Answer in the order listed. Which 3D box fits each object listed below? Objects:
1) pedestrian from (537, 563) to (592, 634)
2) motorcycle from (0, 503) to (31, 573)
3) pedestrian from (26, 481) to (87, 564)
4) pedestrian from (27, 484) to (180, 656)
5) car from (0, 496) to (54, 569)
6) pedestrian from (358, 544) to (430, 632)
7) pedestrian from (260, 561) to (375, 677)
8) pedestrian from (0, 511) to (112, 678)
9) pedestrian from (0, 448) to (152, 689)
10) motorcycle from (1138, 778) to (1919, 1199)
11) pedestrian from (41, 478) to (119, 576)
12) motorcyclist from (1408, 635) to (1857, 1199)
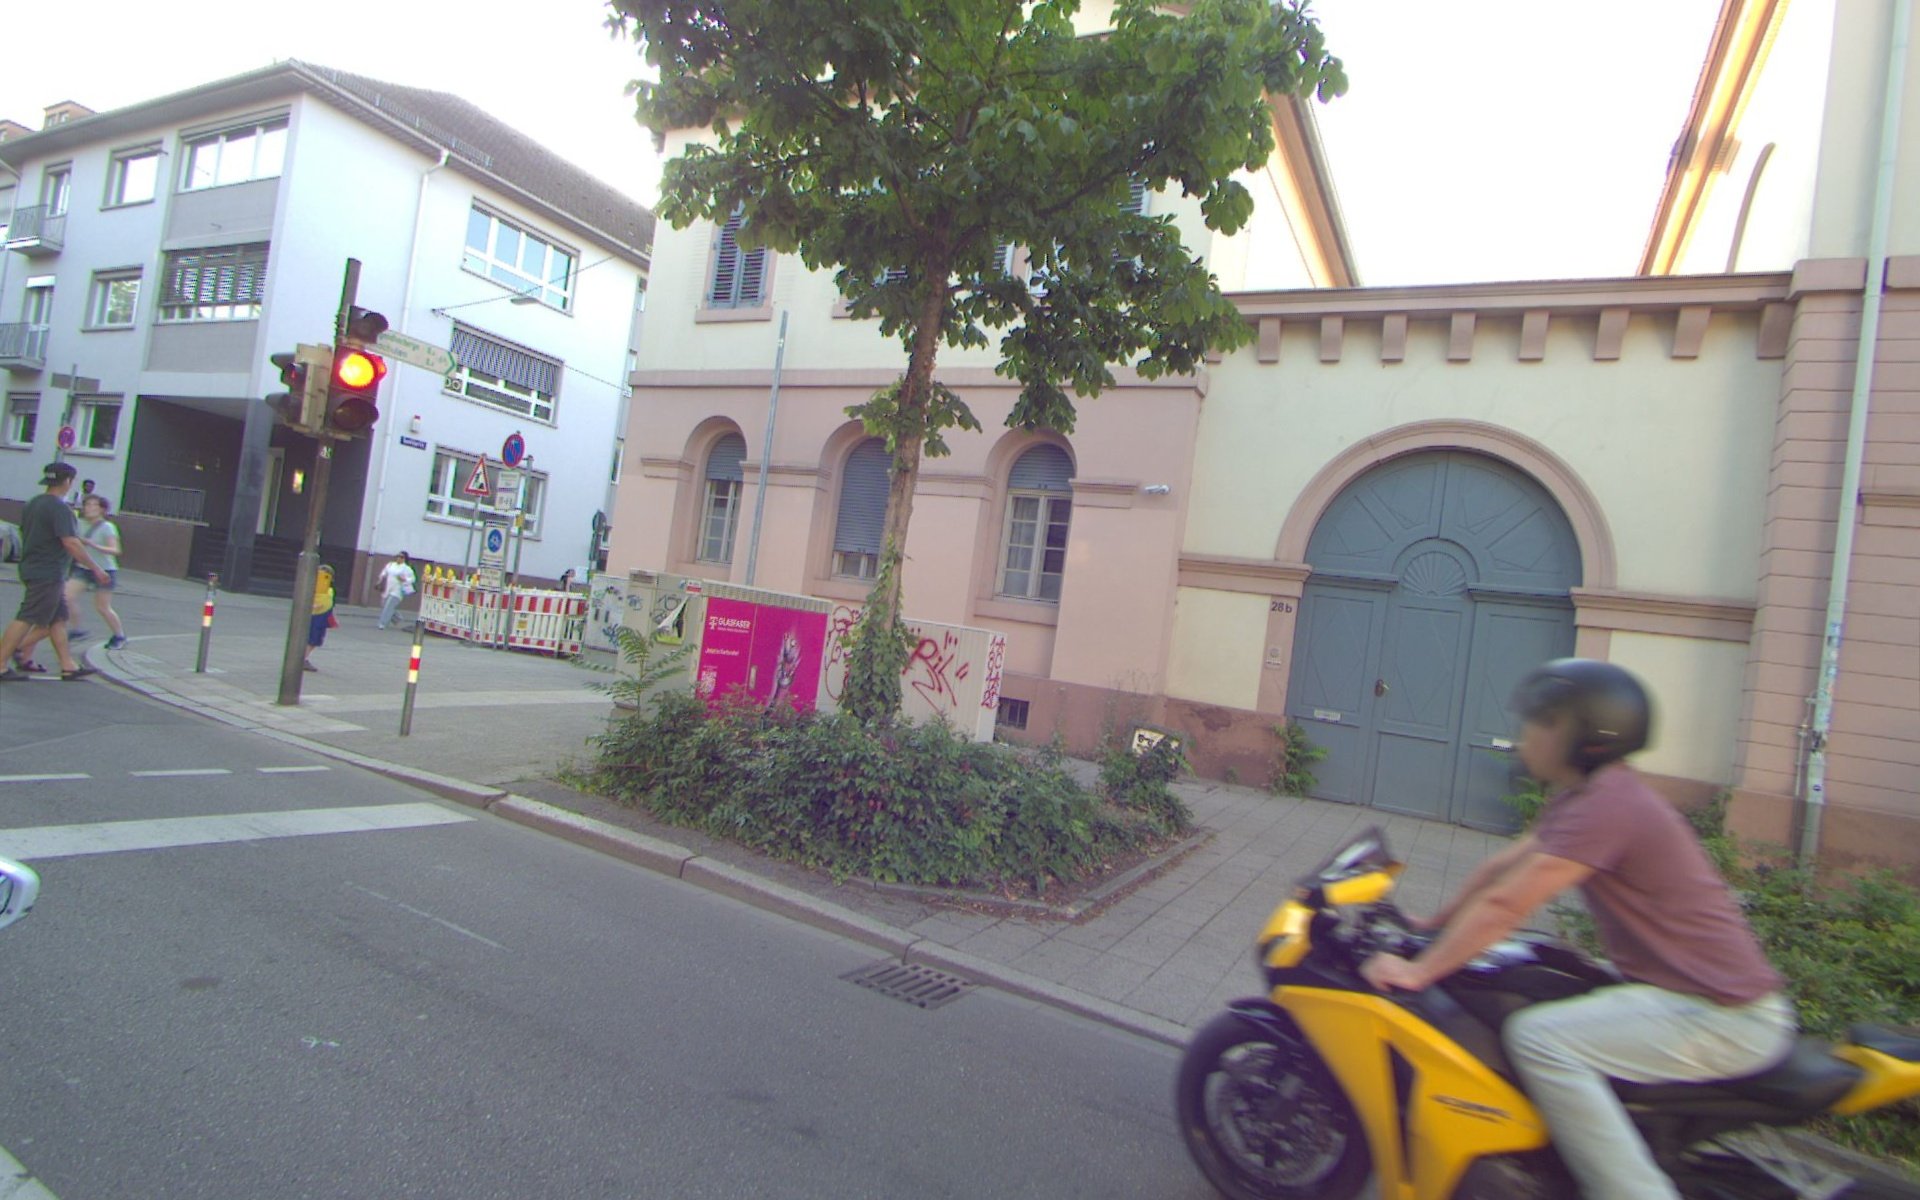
[{"bbox_3d":[-10.790,-0.038,27.457,0.917,1.772,0.770,8,-1,30],"label":"pedestrian"},{"bbox_3d":[-17.796,-1.213,17.816,0.604,1.213,1.800,7,-1,38],"label":"motorcycle"},{"bbox_3d":[-20.899,-1.781,23.278,0.688,1.772,0.705,8,-1,33],"label":"pedestrian"},{"bbox_3d":[-8.669,-0.287,10.232,0.692,1.575,0.976,9,-1,-20],"label":"pedestrian"},{"bbox_3d":[-20.503,-1.588,19.447,1.678,1.358,4.024,7,-2,30],"label":"car"},{"bbox_3d":[-10.571,-0.218,18.823,0.763,1.519,0.801,7,0,-6],"label":"pedestrian"},{"bbox_3d":[-7.015,0.209,11.000,0.821,1.134,0.567,8,1,19],"label":"pedestrian"},{"bbox_3d":[-7.873,-0.041,8.717,0.498,1.351,0.540,8,-1,34],"label":"pedestrian"},{"bbox_3d":[-7.532,-0.247,8.355,0.781,1.836,0.889,8,-1,34],"label":"pedestrian"},{"bbox_3d":[1.556,1.239,2.563,1.932,1.173,0.794,7,-3,26],"label":"motorcycle"},{"bbox_3d":[-18.421,-1.520,21.068,0.927,1.862,0.769,8,-1,30],"label":"pedestrian"},{"bbox_3d":[1.610,0.879,2.567,0.686,1.436,0.794,7,-2,25],"label":"motorcyclist"}]
